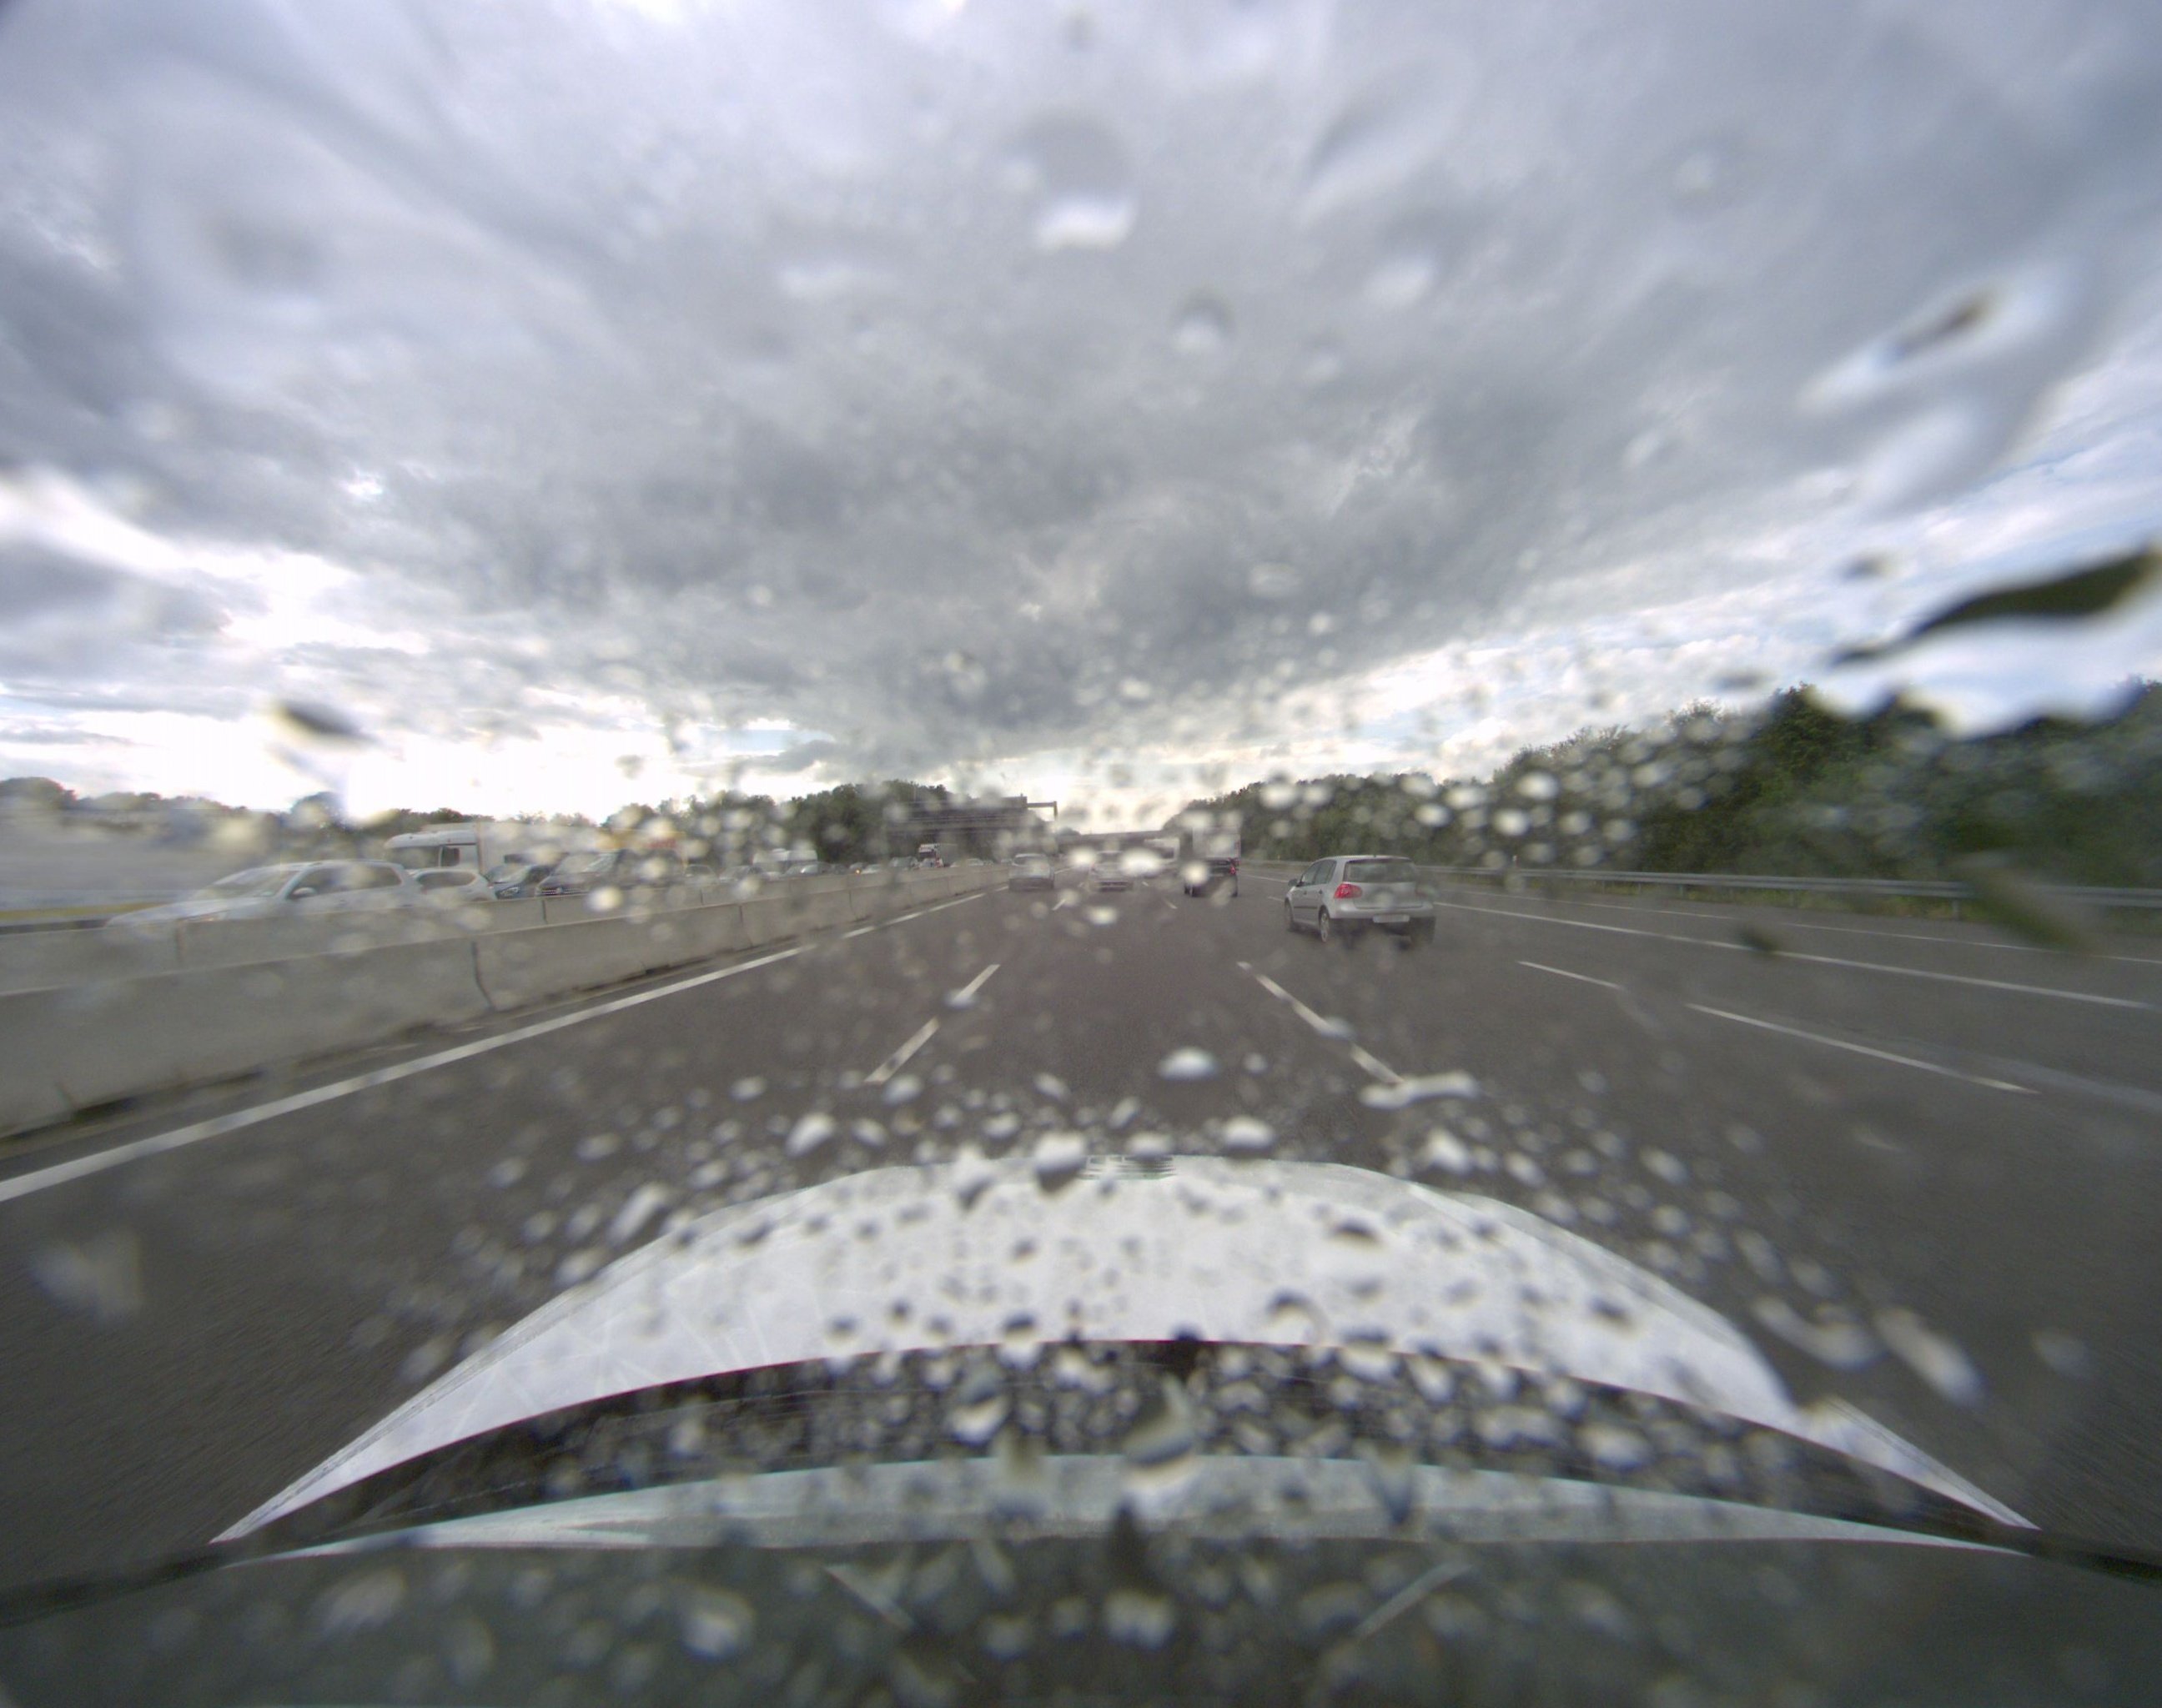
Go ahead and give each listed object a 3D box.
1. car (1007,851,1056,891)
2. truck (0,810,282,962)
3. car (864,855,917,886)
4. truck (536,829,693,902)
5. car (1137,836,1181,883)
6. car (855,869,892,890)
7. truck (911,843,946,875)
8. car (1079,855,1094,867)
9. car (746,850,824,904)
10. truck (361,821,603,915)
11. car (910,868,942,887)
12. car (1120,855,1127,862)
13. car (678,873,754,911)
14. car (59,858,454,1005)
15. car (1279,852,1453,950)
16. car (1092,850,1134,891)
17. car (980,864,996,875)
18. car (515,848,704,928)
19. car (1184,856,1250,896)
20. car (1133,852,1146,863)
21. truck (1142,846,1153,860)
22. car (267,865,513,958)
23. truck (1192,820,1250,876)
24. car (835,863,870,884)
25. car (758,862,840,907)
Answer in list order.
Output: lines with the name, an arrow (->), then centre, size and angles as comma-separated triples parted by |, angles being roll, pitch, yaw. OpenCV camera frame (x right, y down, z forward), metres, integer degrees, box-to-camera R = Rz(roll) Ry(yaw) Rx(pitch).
car -> -2.209, 0.721, 37.531 | 1.808, 1.689, 4.853 | -1, 0, 1
truck -> -24.810, 0.712, 19.038 | 2.899, 3.290, 9.206 | -1, 0, 2
car -> -11.626, 0.956, 50.058 | 1.986, 1.781, 4.675 | -1, 0, 2
truck -> -25.798, 0.585, 45.807 | 2.866, 3.612, 9.587 | -1, 0, 3
car -> 5.190, 0.345, 55.342 | 2.557, 2.895, 7.538 | -1, 0, 2
car -> -18.660, 2.253, 73.422 | 1.986, 1.714, 4.701 | -1, 0, 2
truck -> -20.654, 0.664, 110.754 | 3.208, 4.057, 6.235 | -1, 0, 2
car -> 0.721, 0.891, 104.351 | 1.773, 1.481, 4.356 | -1, 0, 3
car -> -19.459, 1.430, 53.960 | 2.651, 3.277, 6.564 | -1, 0, 1
truck -> -26.297, 0.578, 36.782 | 2.866, 3.612, 10.319 | -1, 0, 3
car -> -14.813, 2.207, 77.984 | 1.986, 1.714, 4.701 | -1, 0, 2
car -> 11.430, 1.223, 219.493 | 1.875, 1.686, 3.999 | -1, 0, 0
car -> -19.696, 2.010, 44.192 | 1.866, 1.772, 4.713 | -1, 0, 2
car -> -13.277, 1.105, 13.638 | 1.986, 2.013, 4.427 | -1, 0, 2
car -> 4.851, 0.726, 14.490 | 1.788, 1.477, 4.039 | -1, 0, 2
car -> 1.406, 0.700, 36.654 | 1.774, 1.716, 4.354 | -1, 0, 1
car -> -15.676, 2.611, 137.607 | 1.985, 1.891, 4.365 | -1, 0, 2
car -> -13.381, 0.868, 23.674 | 1.986, 2.013, 5.760 | -1, 0, 1
car -> 5.056, 0.779, 30.787 | 1.878, 1.407, 4.283 | -1, 0, 1
car -> 9.621, 0.559, 134.934 | 2.035, 1.823, 4.908 | -1, 0, 3
truck -> 18.417, -0.194, 226.402 | 2.894, 3.810, 7.280 | -1, 0, 3
car -> -17.204, 1.320, 20.692 | 1.986, 2.013, 4.816 | -1, 0, 2
truck -> 10.103, -0.382, 59.730 | 3.119, 3.709, 9.857 | -1, 0, 4
car -> -22.898, 1.902, 81.786 | 1.986, 2.013, 4.545 | -1, 0, 2
car -> -12.085, 1.276, 35.172 | 1.986, 1.750, 4.002 | -1, 0, 2
